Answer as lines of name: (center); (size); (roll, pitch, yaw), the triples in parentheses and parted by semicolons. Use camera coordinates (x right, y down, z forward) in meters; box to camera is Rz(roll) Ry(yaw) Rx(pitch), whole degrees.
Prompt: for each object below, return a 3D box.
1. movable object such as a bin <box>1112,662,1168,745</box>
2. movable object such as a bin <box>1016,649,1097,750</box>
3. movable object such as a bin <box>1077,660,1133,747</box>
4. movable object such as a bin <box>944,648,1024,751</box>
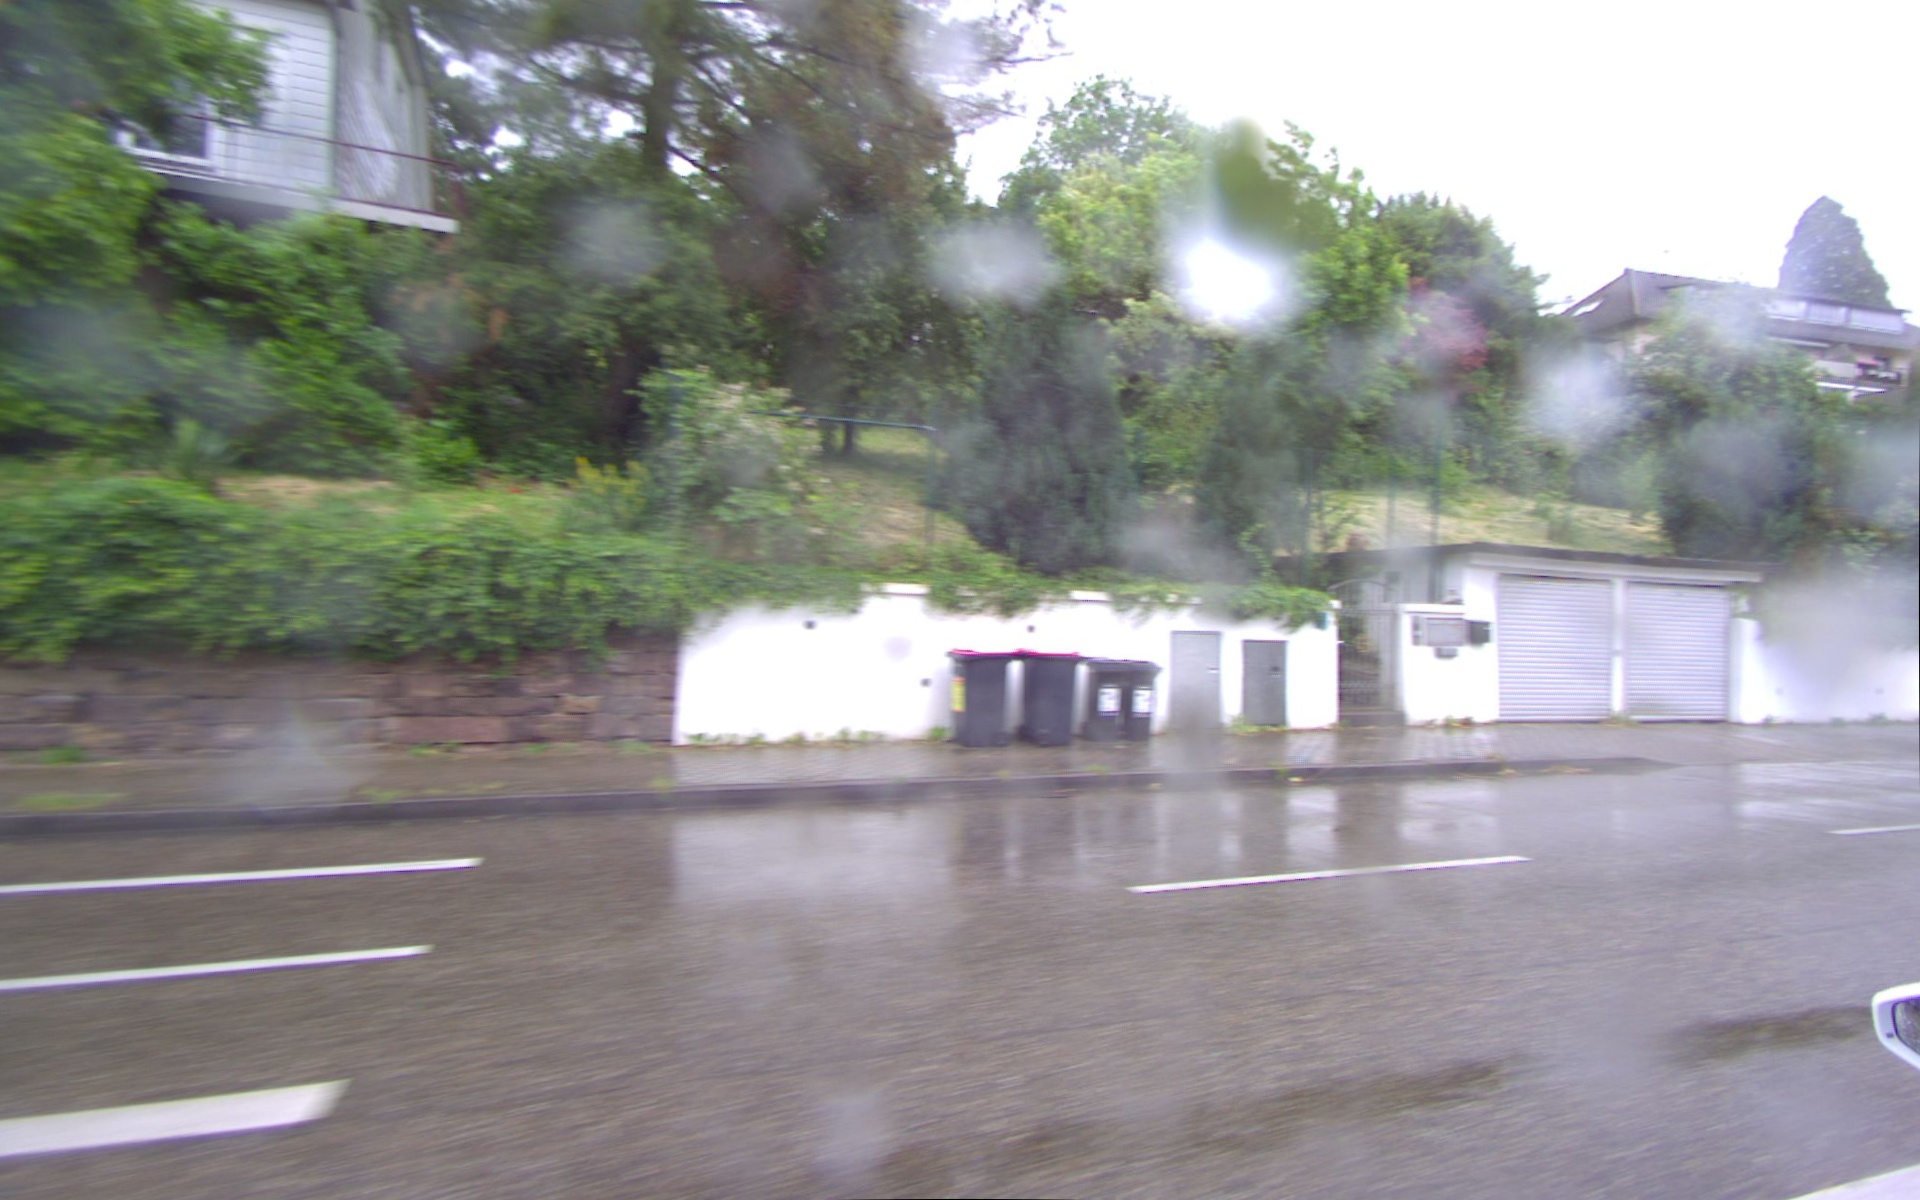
movable object such as a bin: (2.109, 1.200, 11.772); (0.410, 0.910, 0.530); (2, 0, -21)
movable object such as a bin: (1.075, 1.096, 11.248); (0.647, 1.054, 0.680); (2, 0, -21)
movable object such as a bin: (1.674, 1.184, 11.631); (0.410, 0.952, 0.542); (2, 0, -21)
movable object such as a bin: (0.251, 1.076, 11.039); (0.647, 1.054, 0.680); (2, 0, -21)
